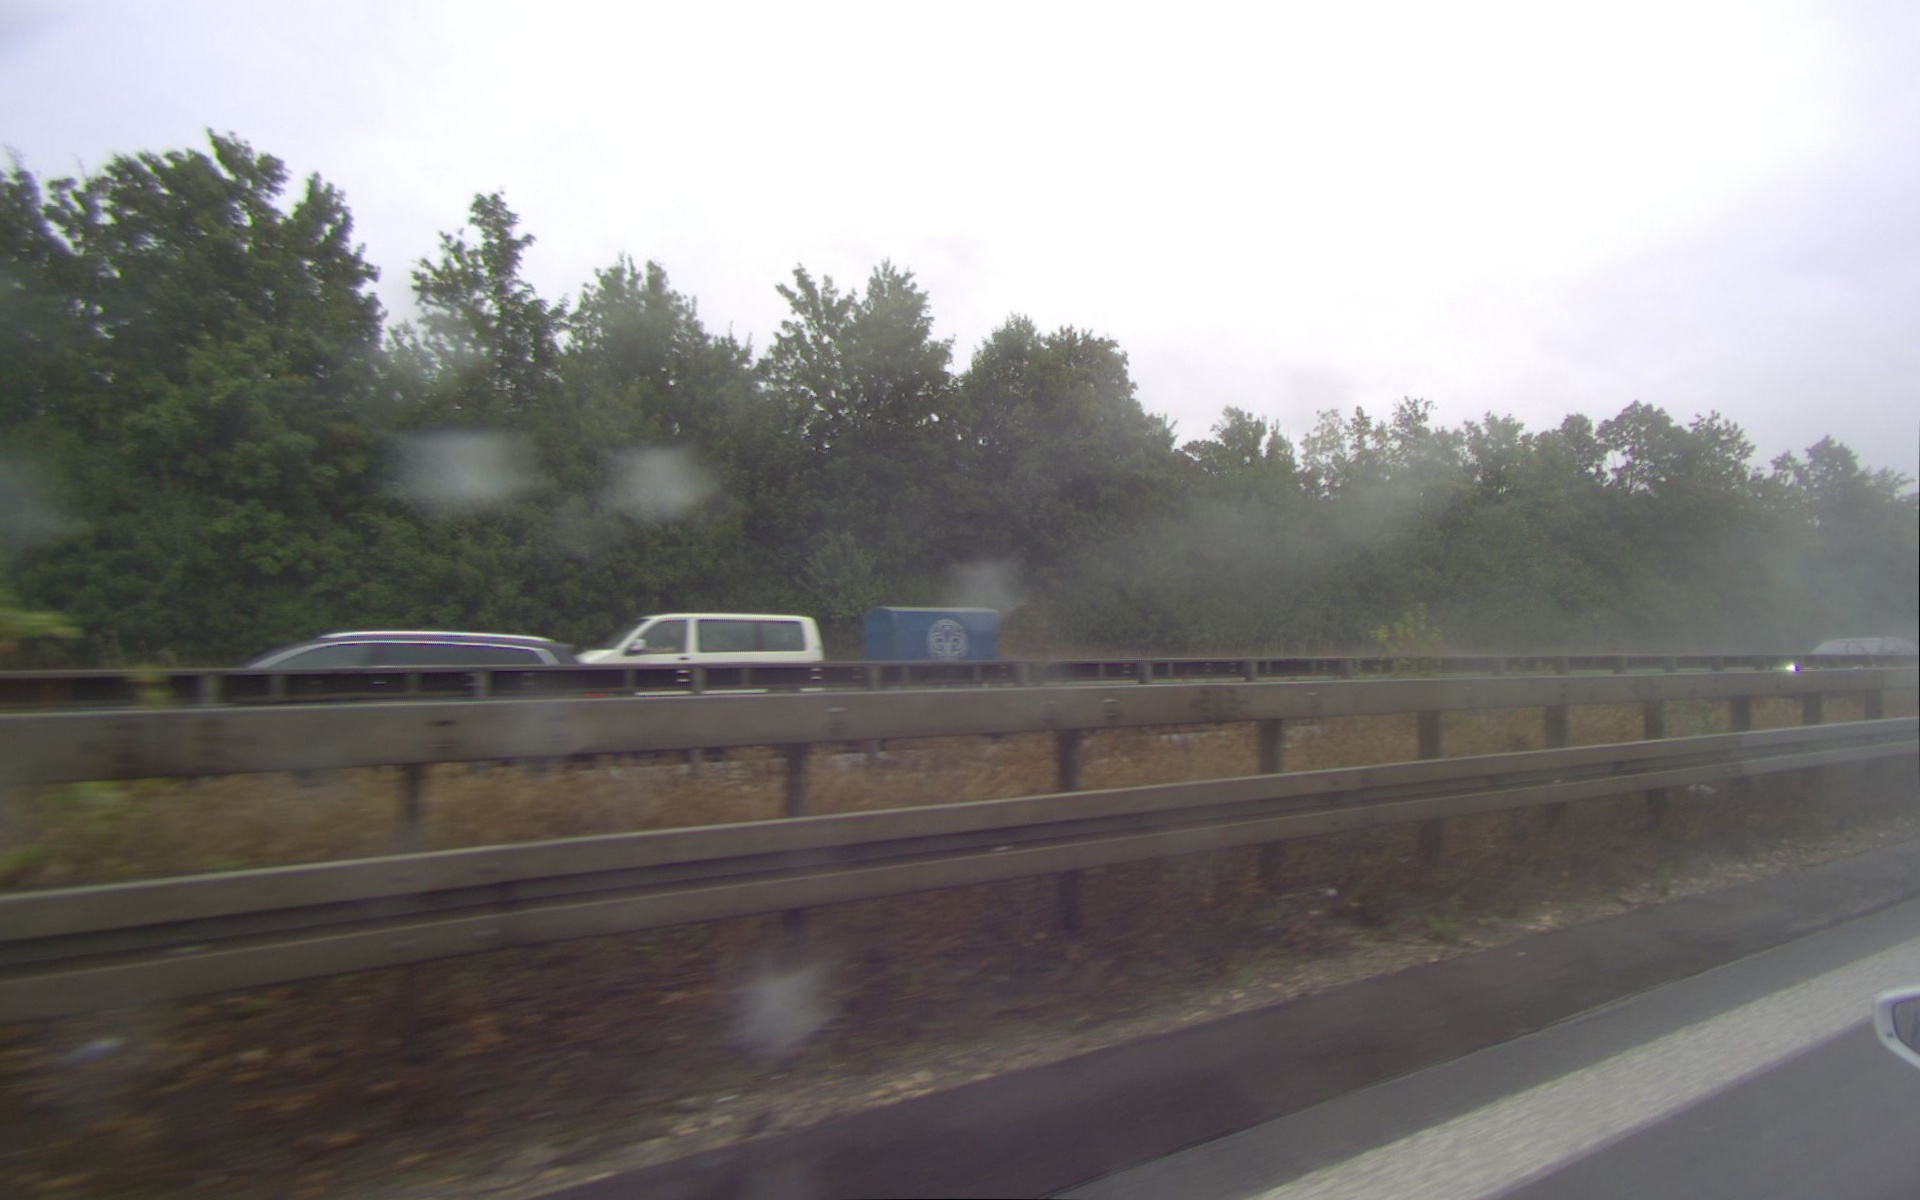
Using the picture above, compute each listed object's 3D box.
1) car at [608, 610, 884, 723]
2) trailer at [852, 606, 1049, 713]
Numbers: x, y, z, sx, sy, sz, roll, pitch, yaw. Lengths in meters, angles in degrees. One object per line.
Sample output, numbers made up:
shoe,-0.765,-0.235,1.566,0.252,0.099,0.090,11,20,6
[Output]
car,-3.932,1.169,18.741,4.671,1.838,1.871,1,0,-32
trailer,-0.159,1.169,21.046,3.973,2.041,1.407,0,1,-32
